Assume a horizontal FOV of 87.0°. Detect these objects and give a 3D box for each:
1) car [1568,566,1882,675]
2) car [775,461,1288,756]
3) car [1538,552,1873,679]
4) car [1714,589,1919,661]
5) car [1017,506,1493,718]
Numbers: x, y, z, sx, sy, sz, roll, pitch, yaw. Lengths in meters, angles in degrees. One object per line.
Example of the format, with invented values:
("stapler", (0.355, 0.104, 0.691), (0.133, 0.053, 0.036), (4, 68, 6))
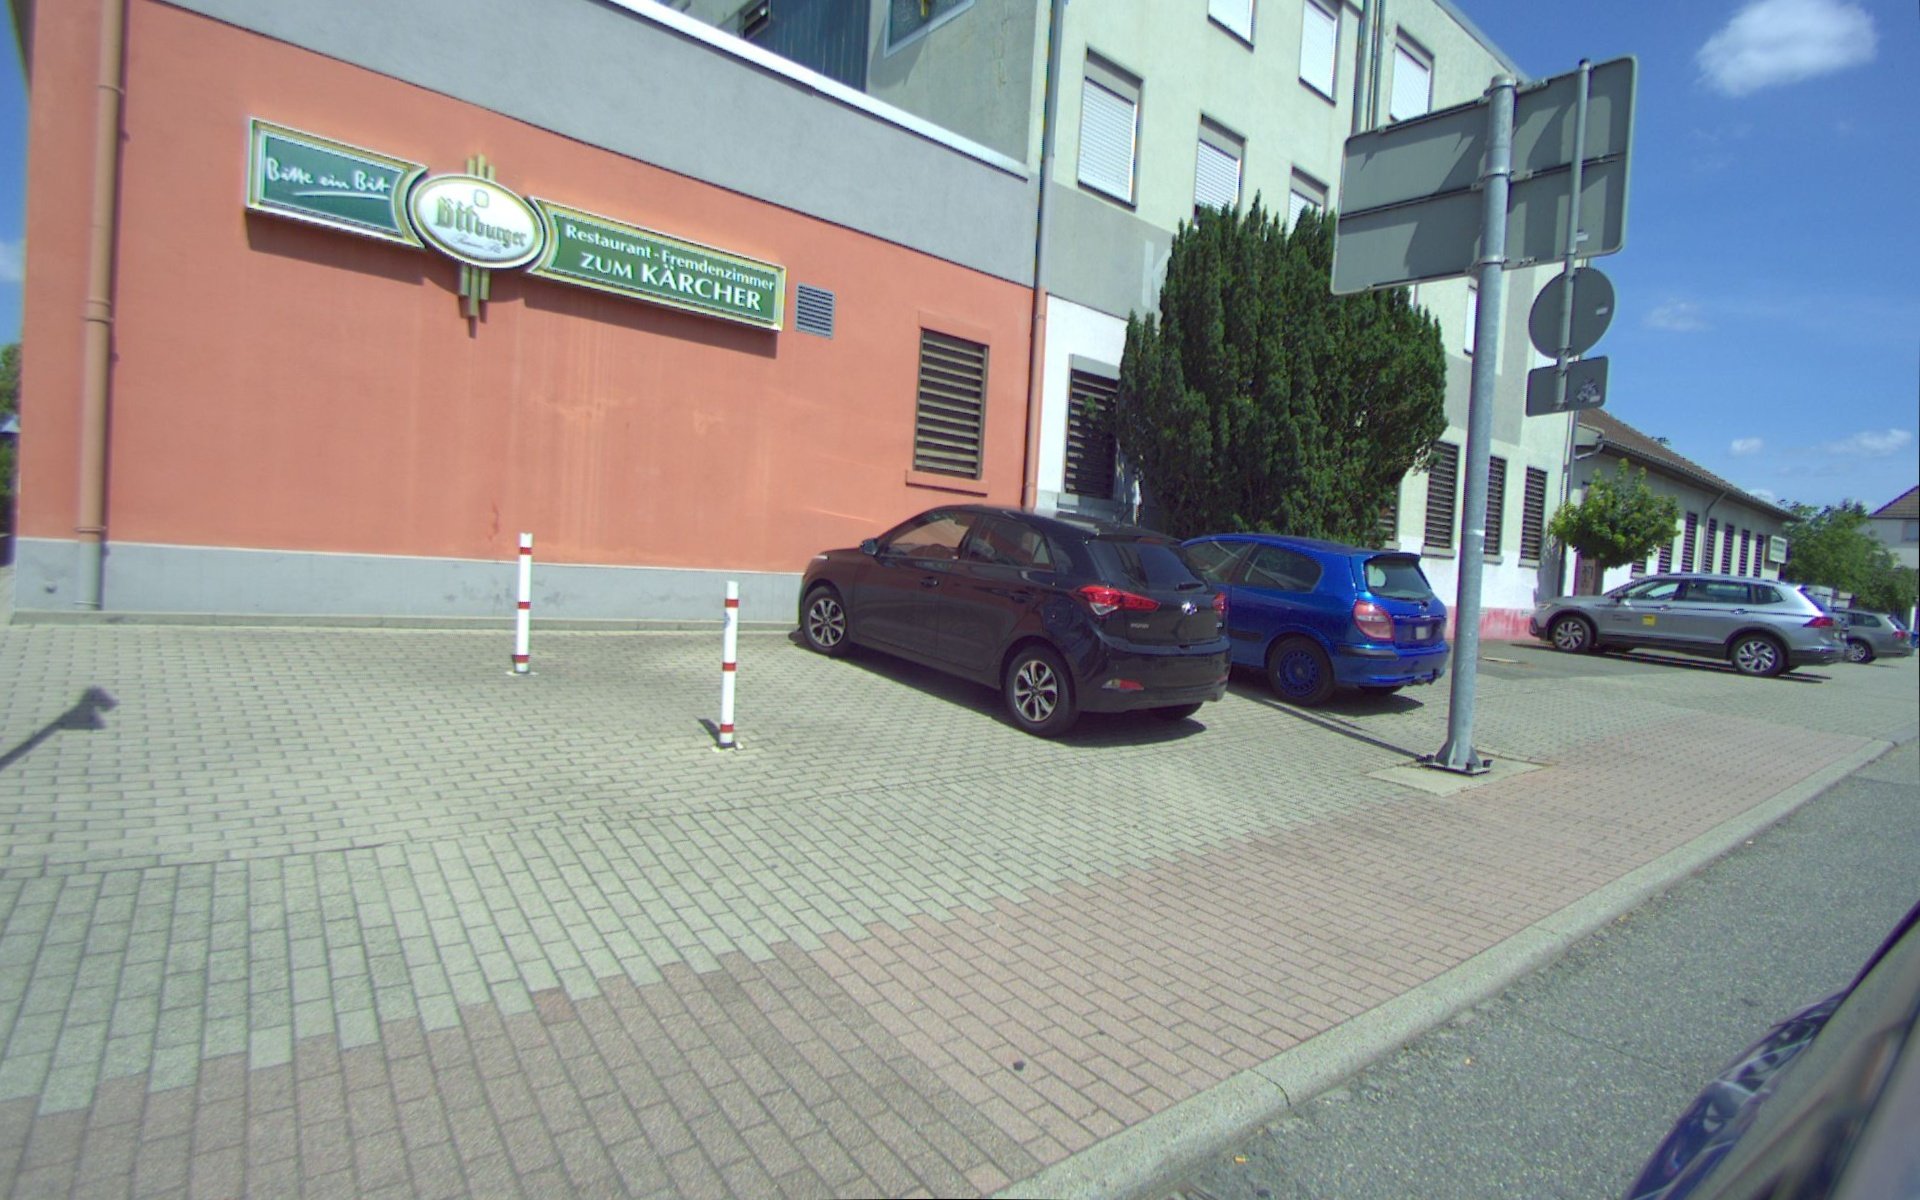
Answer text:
("car", (14.844, 0.323, 19.865), (1.965, 1.537, 4.512), (2, 4, -41))
("car", (0.348, -0.138, 8.208), (1.779, 1.506, 3.908), (0, 10, -42))
("car", (13.263, 0.188, 18.245), (1.890, 1.717, 4.463), (2, 4, -42))
("car", (24.450, 0.670, 28.701), (1.884, 1.471, 4.540), (2, 4, -40))
("car", (2.749, -0.069, 10.339), (1.749, 1.455, 4.335), (-1, 8, -41))
